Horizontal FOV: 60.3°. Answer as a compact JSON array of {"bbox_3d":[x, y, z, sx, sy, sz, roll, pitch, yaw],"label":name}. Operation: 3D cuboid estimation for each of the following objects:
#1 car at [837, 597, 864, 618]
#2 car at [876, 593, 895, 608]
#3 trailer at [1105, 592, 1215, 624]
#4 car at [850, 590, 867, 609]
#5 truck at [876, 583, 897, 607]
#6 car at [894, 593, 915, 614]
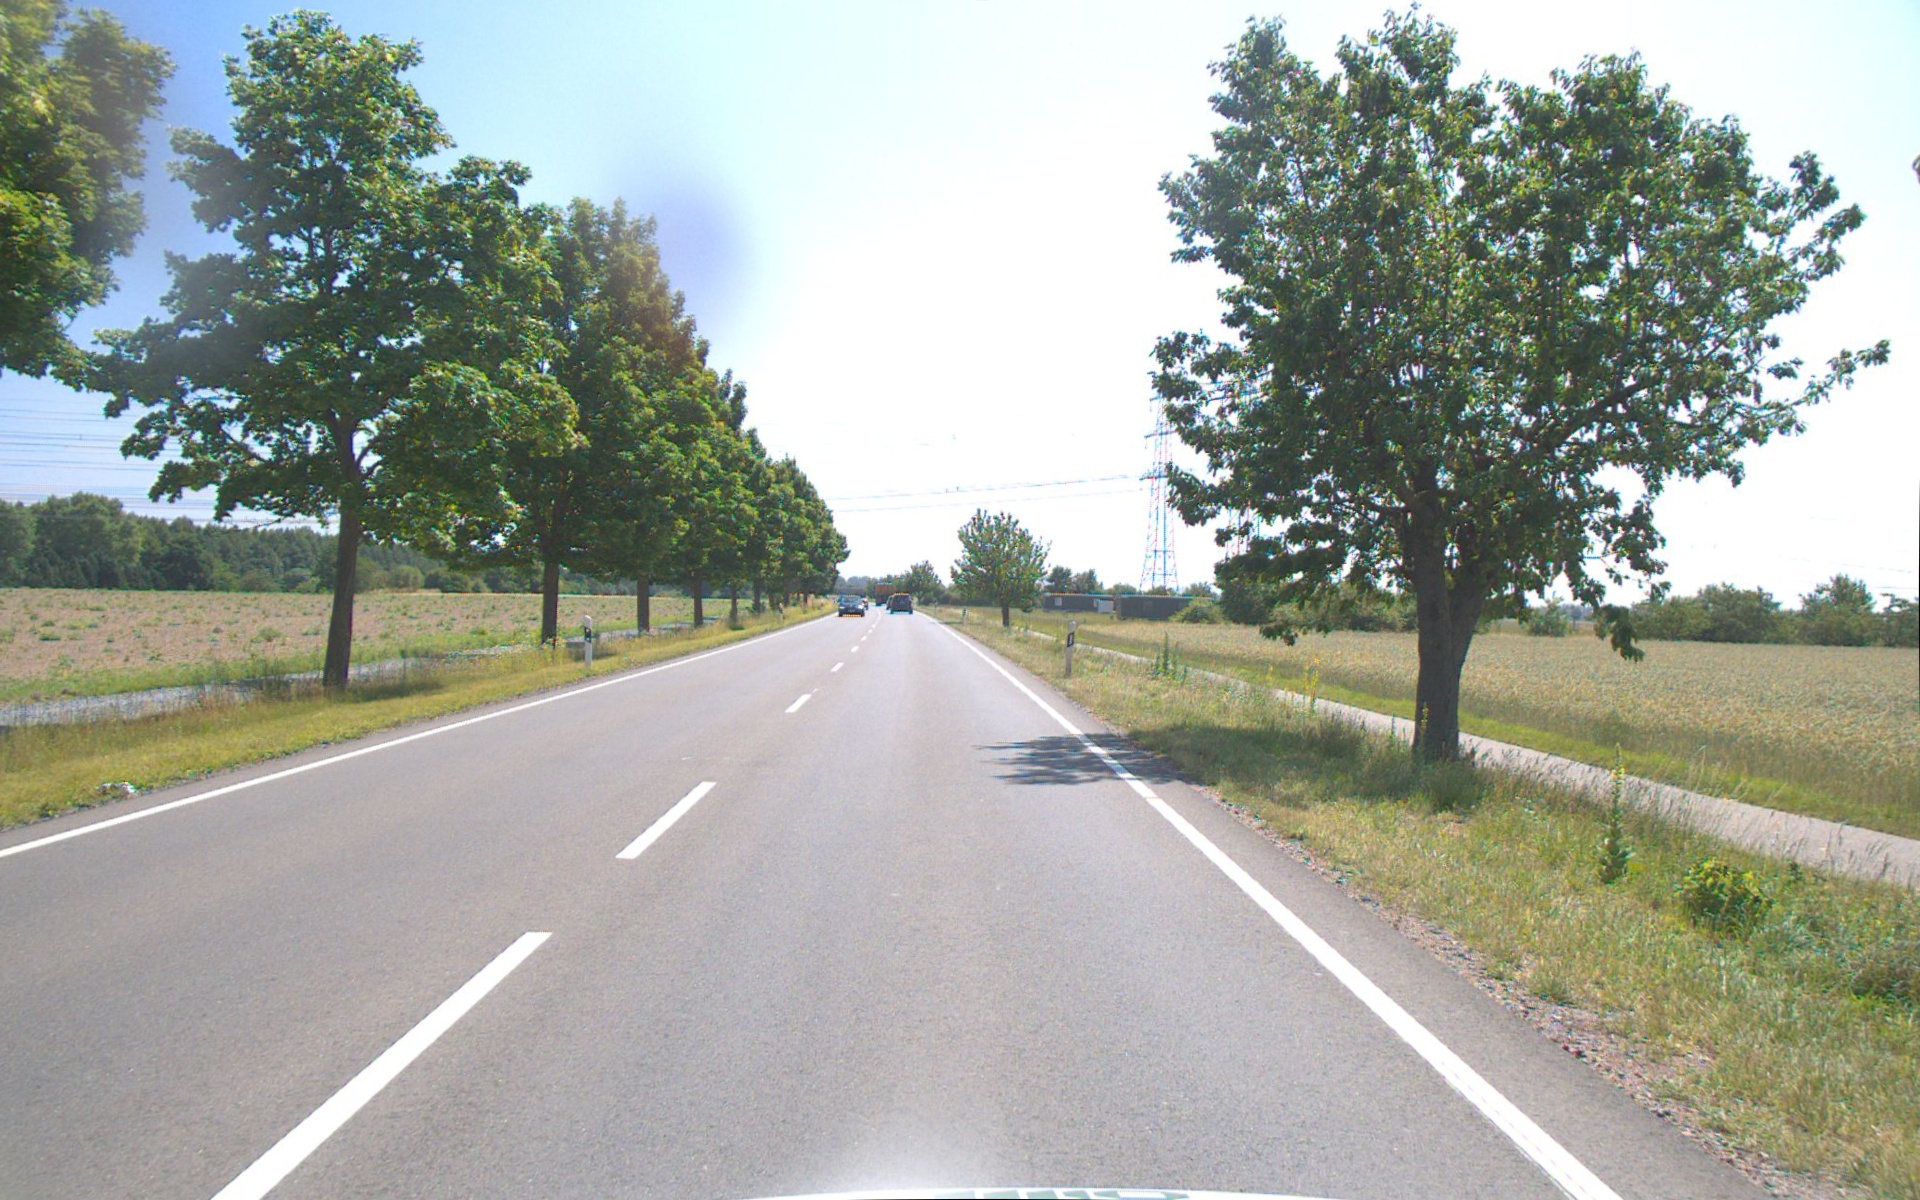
[{"bbox_3d":[-7.911,0.547,119.506,1.785,1.445,4.587,1,0,-2],"label":"car"},{"bbox_3d":[-7.936,0.017,176.754,1.815,1.549,3.995,1,0,-6],"label":"car"},{"bbox_3d":[24.937,0.962,206.641,13.246,3.536,3.273,2,0,-5],"label":"trailer"},{"bbox_3d":[-10.625,-0.038,173.877,1.647,1.881,3.998,1,0,-3],"label":"car"},{"bbox_3d":[-10.389,-0.718,233.491,2.325,3.195,8.735,1,0,-6],"label":"truck"},{"bbox_3d":[-4.657,0.288,139.086,1.680,1.723,3.986,1,0,-3],"label":"car"}]
